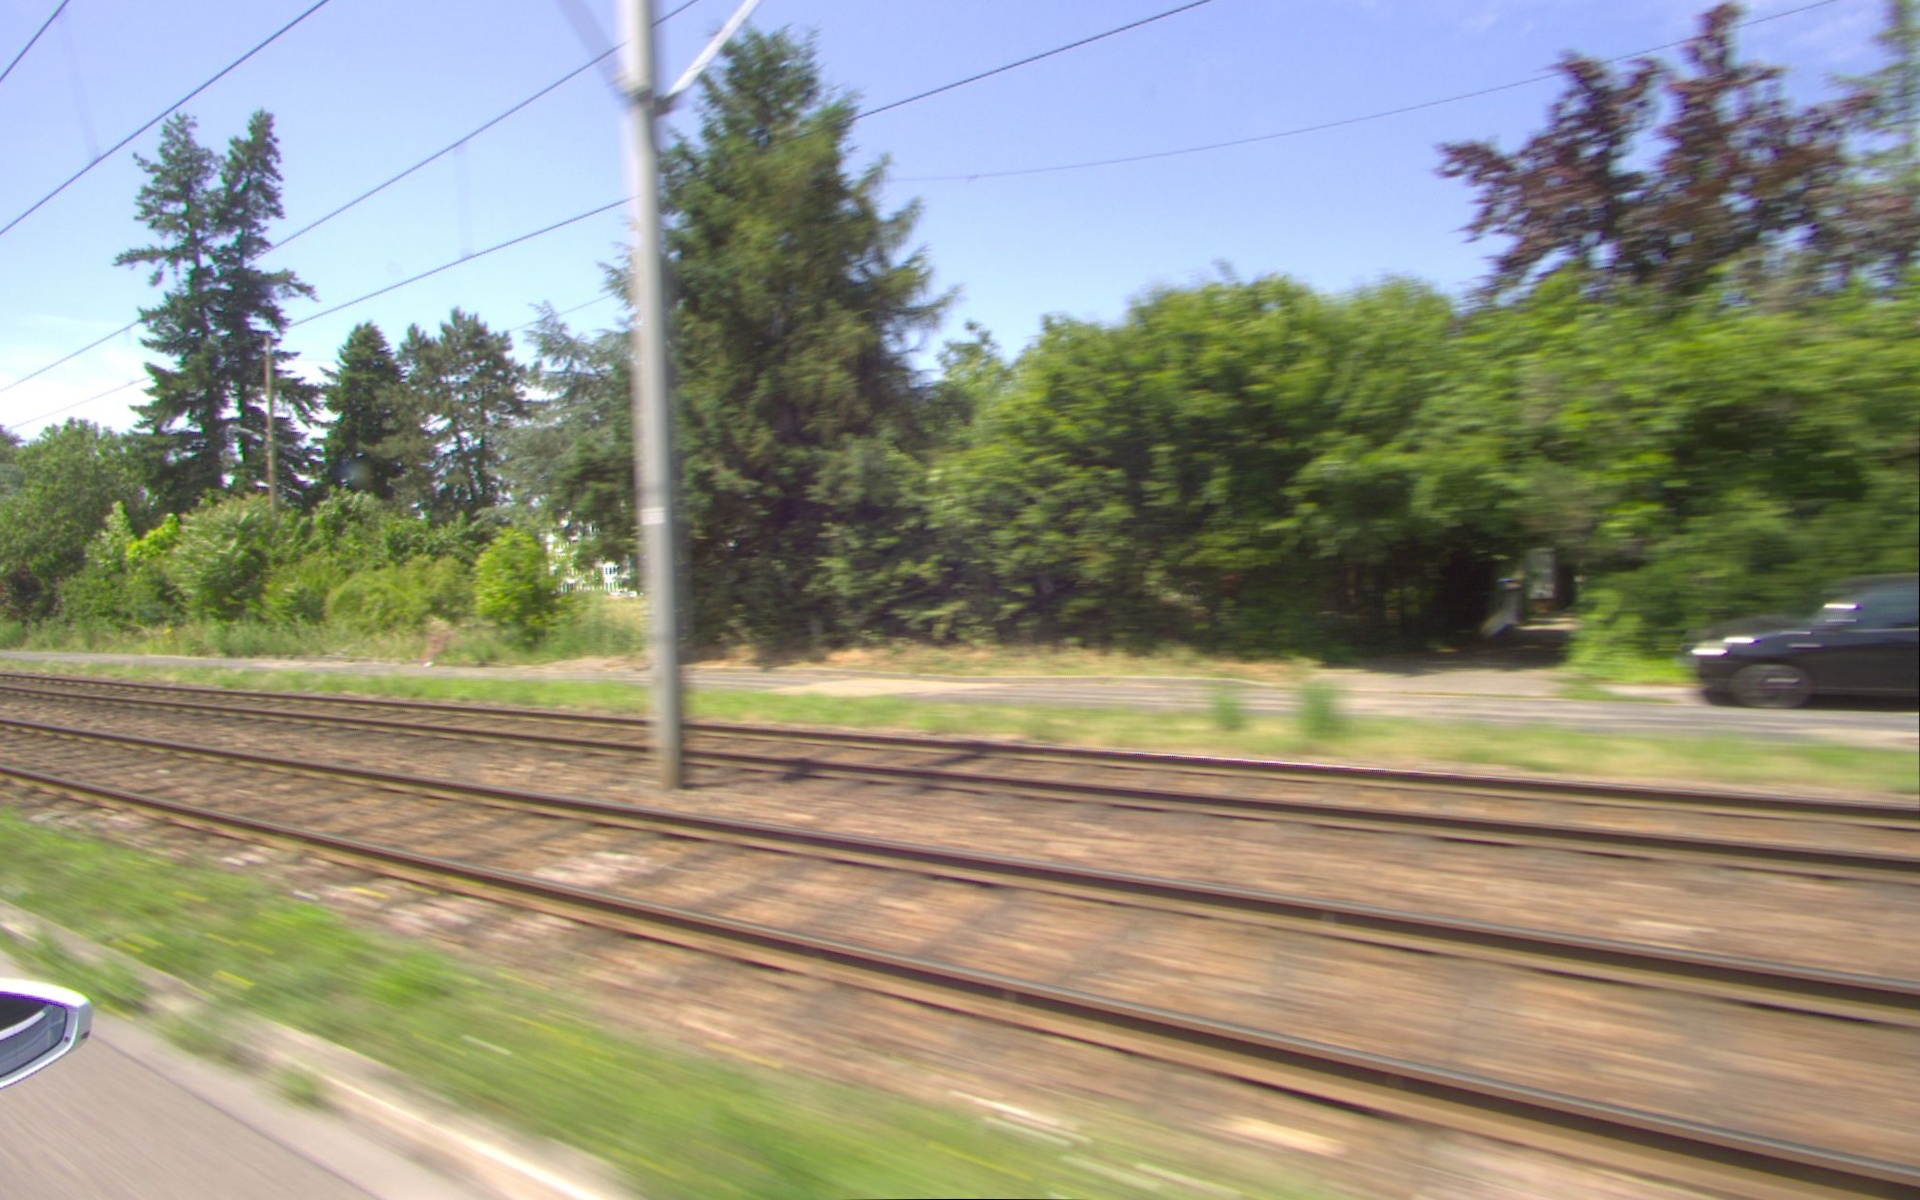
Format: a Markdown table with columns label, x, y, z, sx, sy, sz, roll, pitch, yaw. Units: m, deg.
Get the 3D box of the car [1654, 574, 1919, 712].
| label | x | y | z | sx | sy | sz | roll | pitch | yaw |
| --- | --- | --- | --- | --- | --- | --- | --- | --- | --- |
| car | 10.587 | 0.465 | 11.711 | 3.943 | 1.490 | 1.910 | -1 | 0 | 32 |
